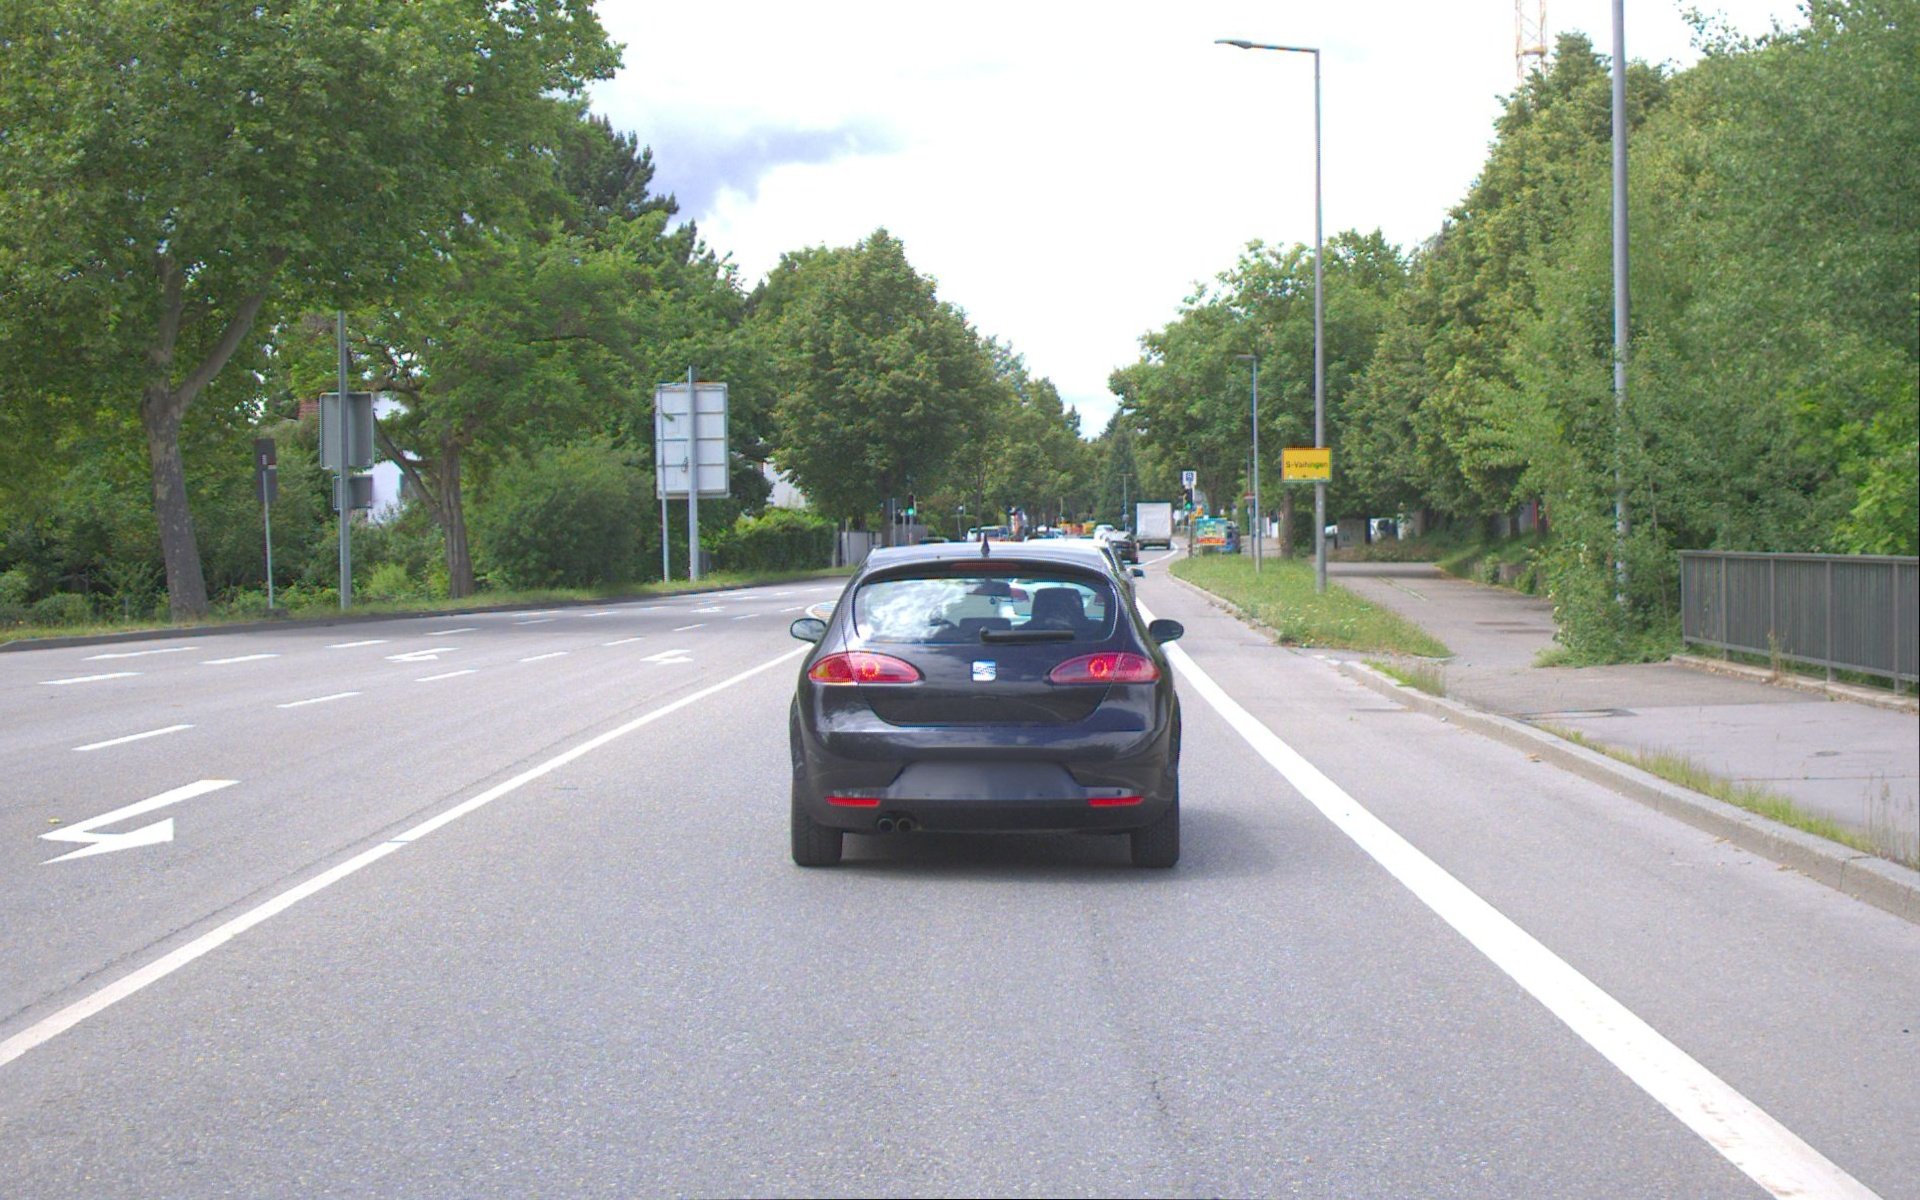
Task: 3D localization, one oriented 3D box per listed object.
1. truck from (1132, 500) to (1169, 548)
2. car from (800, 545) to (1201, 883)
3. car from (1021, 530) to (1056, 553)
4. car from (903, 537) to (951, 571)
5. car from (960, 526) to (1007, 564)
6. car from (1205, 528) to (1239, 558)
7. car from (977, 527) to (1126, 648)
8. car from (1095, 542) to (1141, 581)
[{"bbox_3d":[12.544,-4.976,226.189,2.279,3.093,8.510,1,1,4],"label":"truck"},{"bbox_3d":[0.135,0.448,16.323,1.662,1.396,3.812,1,1,-1],"label":"car"},{"bbox_3d":[5.548,-4.093,241.062,2.100,1.501,5.783,-2,1,4],"label":"car"},{"bbox_3d":[-1.492,-2.083,155.051,1.718,1.390,4.801,-2,1,4],"label":"car"},{"bbox_3d":[1.279,-2.956,183.956,2.100,1.890,5.783,-2,1,4],"label":"car"},{"bbox_3d":[13.528,-2.944,177.511,1.688,1.485,3.354,-1,1,4],"label":"car"},{"bbox_3d":[1.245,-0.189,45.158,1.846,1.504,3.811,1,1,3],"label":"car"},{"bbox_3d":[6.992,-1.710,151.959,1.881,1.683,4.213,-1,1,4],"label":"car"}]
